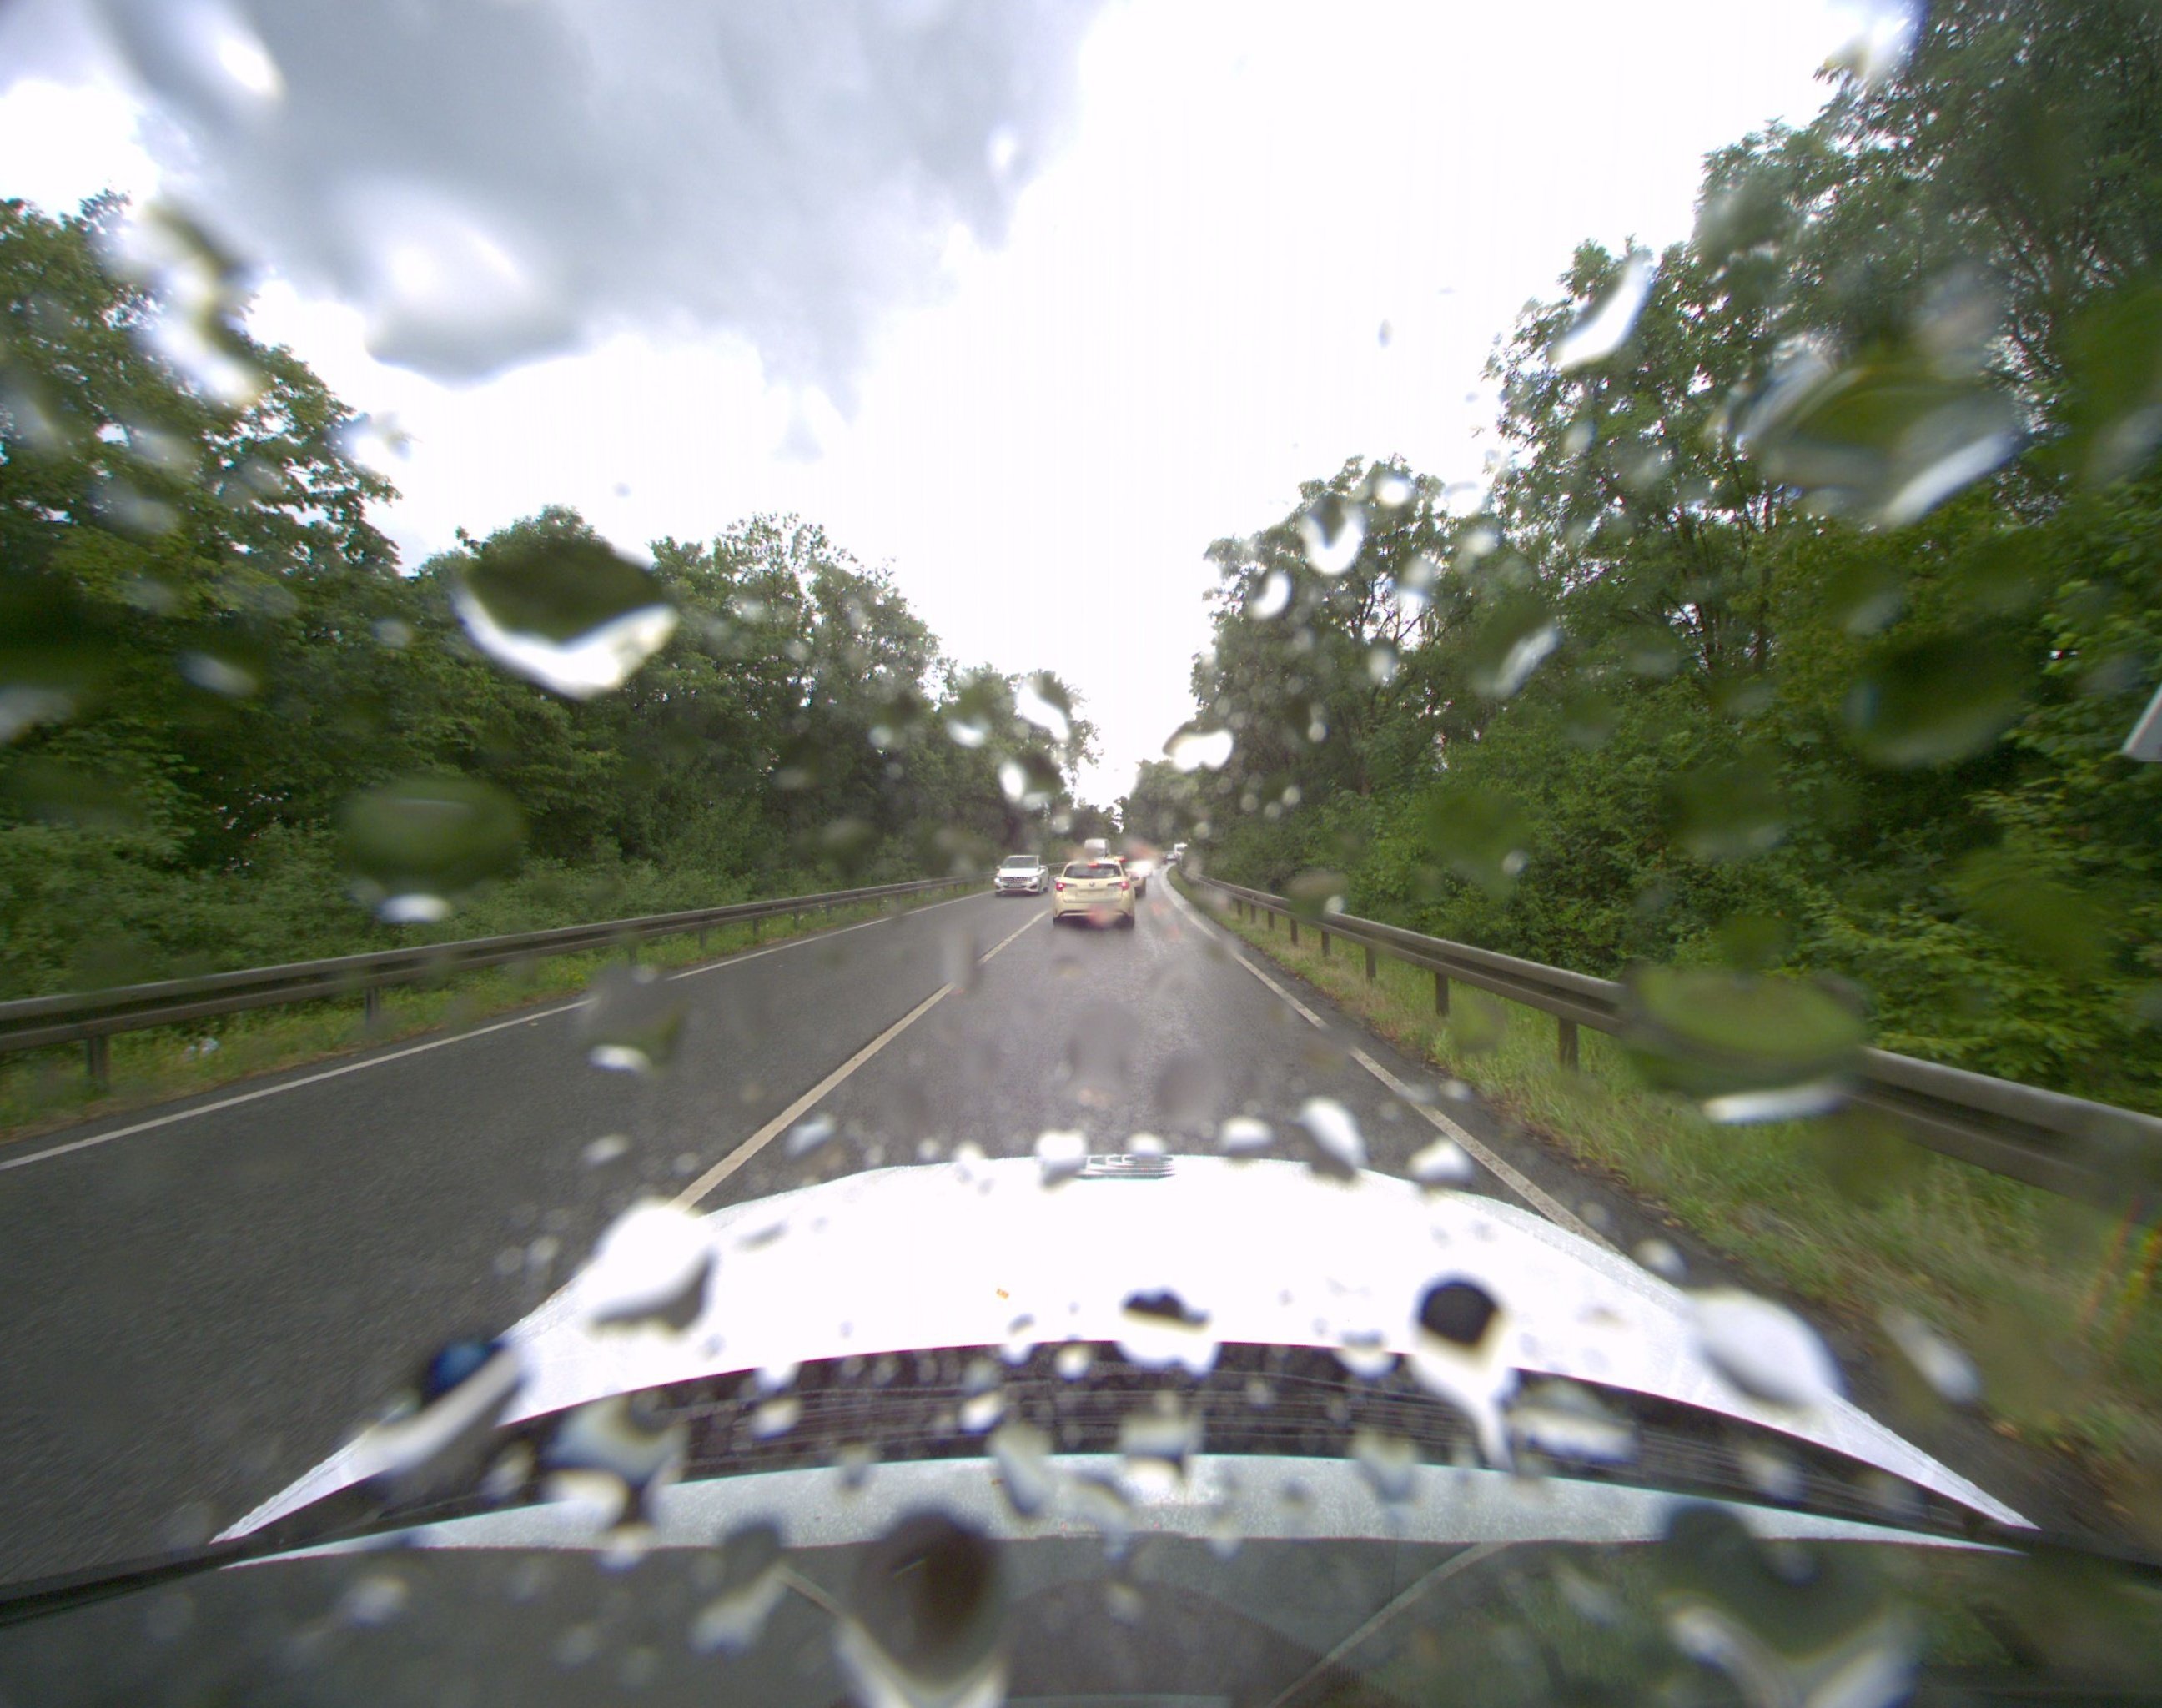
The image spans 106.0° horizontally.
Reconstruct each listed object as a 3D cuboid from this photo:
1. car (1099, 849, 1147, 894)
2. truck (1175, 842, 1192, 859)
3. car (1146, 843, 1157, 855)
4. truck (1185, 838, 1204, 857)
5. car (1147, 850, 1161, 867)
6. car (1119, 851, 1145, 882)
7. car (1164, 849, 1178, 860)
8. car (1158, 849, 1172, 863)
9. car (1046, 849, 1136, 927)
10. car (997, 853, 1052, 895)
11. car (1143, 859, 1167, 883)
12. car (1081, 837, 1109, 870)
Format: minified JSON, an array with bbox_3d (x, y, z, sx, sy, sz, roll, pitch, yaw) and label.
[{"bbox_3d":[1.633,0.651,30.733,1.660,1.580,3.897,0,-1,5],"label":"car"},{"bbox_3d":[17.153,-0.554,137.032,2.537,2.713,7.545,0,-1,5],"label":"truck"},{"bbox_3d":[12.678,-0.849,146.230,1.984,2.014,4.006,0,-1,5],"label":"car"},{"bbox_3d":[22.890,-1.292,164.216,3.084,3.680,7.027,-1,-1,14],"label":"truck"},{"bbox_3d":[6.943,0.434,77.292,1.161,1.547,2.609,-1,-1,7],"label":"car"},{"bbox_3d":[2.646,0.637,42.546,1.295,1.547,3.262,0,-1,3],"label":"car"},{"bbox_3d":[12.659,0.085,114.513,1.759,1.547,3.823,-1,-1,9],"label":"car"},{"bbox_3d":[9.871,0.295,95.616,1.608,1.613,3.628,-1,-1,6],"label":"car"},{"bbox_3d":[0.291,0.724,18.672,1.826,1.580,4.159,0,-1,2],"label":"car"},{"bbox_3d":[-2.222,0.766,32.985,1.684,1.555,4.445,0,0,3],"label":"car"},{"bbox_3d":[5.081,1.162,56.278,1.604,1.547,3.818,-1,-1,4],"label":"car"},{"bbox_3d":[1.263,0.006,69.479,2.039,2.677,6.177,-1,-1,4],"label":"car"}]
